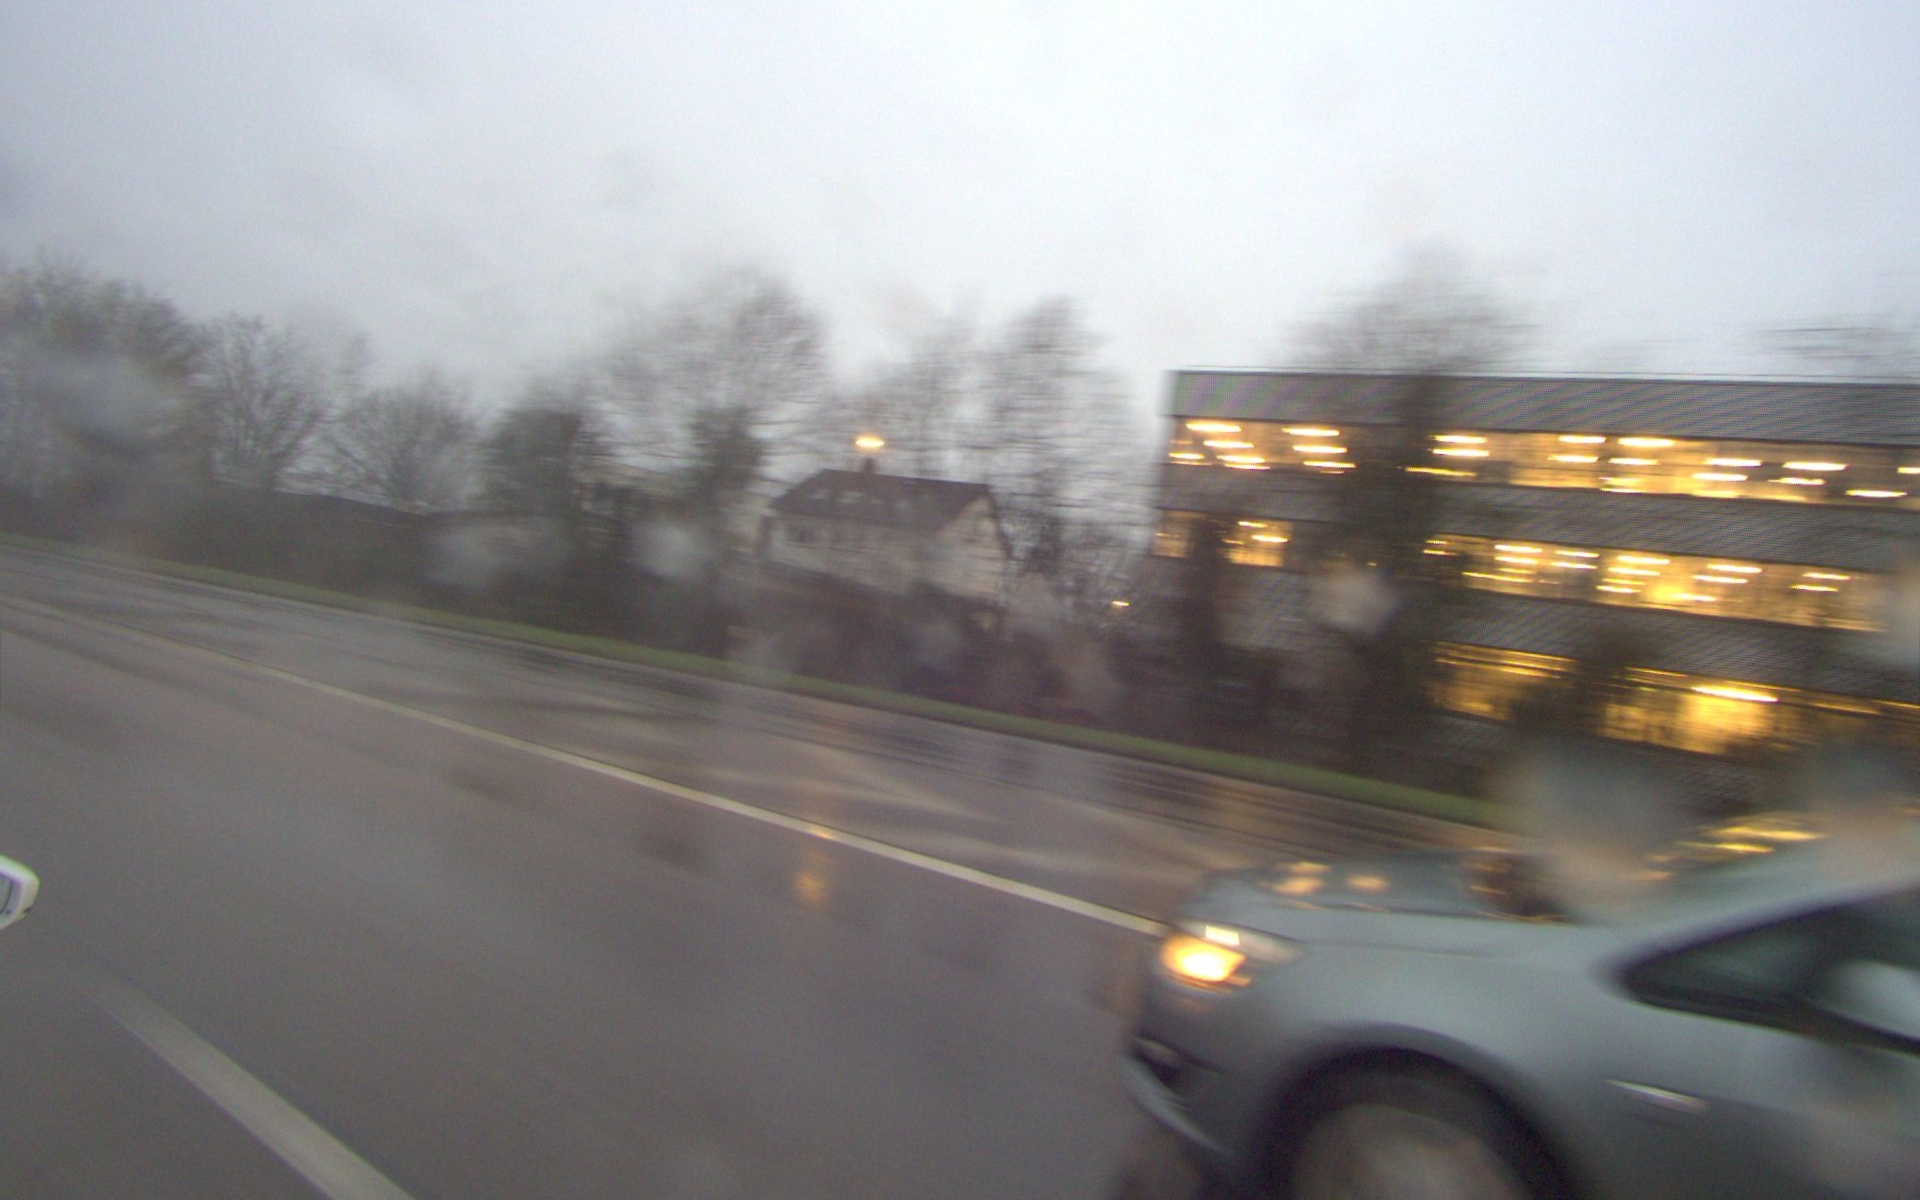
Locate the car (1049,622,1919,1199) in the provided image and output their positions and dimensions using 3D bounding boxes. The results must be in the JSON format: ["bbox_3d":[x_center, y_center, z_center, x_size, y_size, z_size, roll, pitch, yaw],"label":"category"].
[{"bbox_3d":[2.571,1.120,2.353,4.192,1.518,1.854,6,-3,32],"label":"car"}]
